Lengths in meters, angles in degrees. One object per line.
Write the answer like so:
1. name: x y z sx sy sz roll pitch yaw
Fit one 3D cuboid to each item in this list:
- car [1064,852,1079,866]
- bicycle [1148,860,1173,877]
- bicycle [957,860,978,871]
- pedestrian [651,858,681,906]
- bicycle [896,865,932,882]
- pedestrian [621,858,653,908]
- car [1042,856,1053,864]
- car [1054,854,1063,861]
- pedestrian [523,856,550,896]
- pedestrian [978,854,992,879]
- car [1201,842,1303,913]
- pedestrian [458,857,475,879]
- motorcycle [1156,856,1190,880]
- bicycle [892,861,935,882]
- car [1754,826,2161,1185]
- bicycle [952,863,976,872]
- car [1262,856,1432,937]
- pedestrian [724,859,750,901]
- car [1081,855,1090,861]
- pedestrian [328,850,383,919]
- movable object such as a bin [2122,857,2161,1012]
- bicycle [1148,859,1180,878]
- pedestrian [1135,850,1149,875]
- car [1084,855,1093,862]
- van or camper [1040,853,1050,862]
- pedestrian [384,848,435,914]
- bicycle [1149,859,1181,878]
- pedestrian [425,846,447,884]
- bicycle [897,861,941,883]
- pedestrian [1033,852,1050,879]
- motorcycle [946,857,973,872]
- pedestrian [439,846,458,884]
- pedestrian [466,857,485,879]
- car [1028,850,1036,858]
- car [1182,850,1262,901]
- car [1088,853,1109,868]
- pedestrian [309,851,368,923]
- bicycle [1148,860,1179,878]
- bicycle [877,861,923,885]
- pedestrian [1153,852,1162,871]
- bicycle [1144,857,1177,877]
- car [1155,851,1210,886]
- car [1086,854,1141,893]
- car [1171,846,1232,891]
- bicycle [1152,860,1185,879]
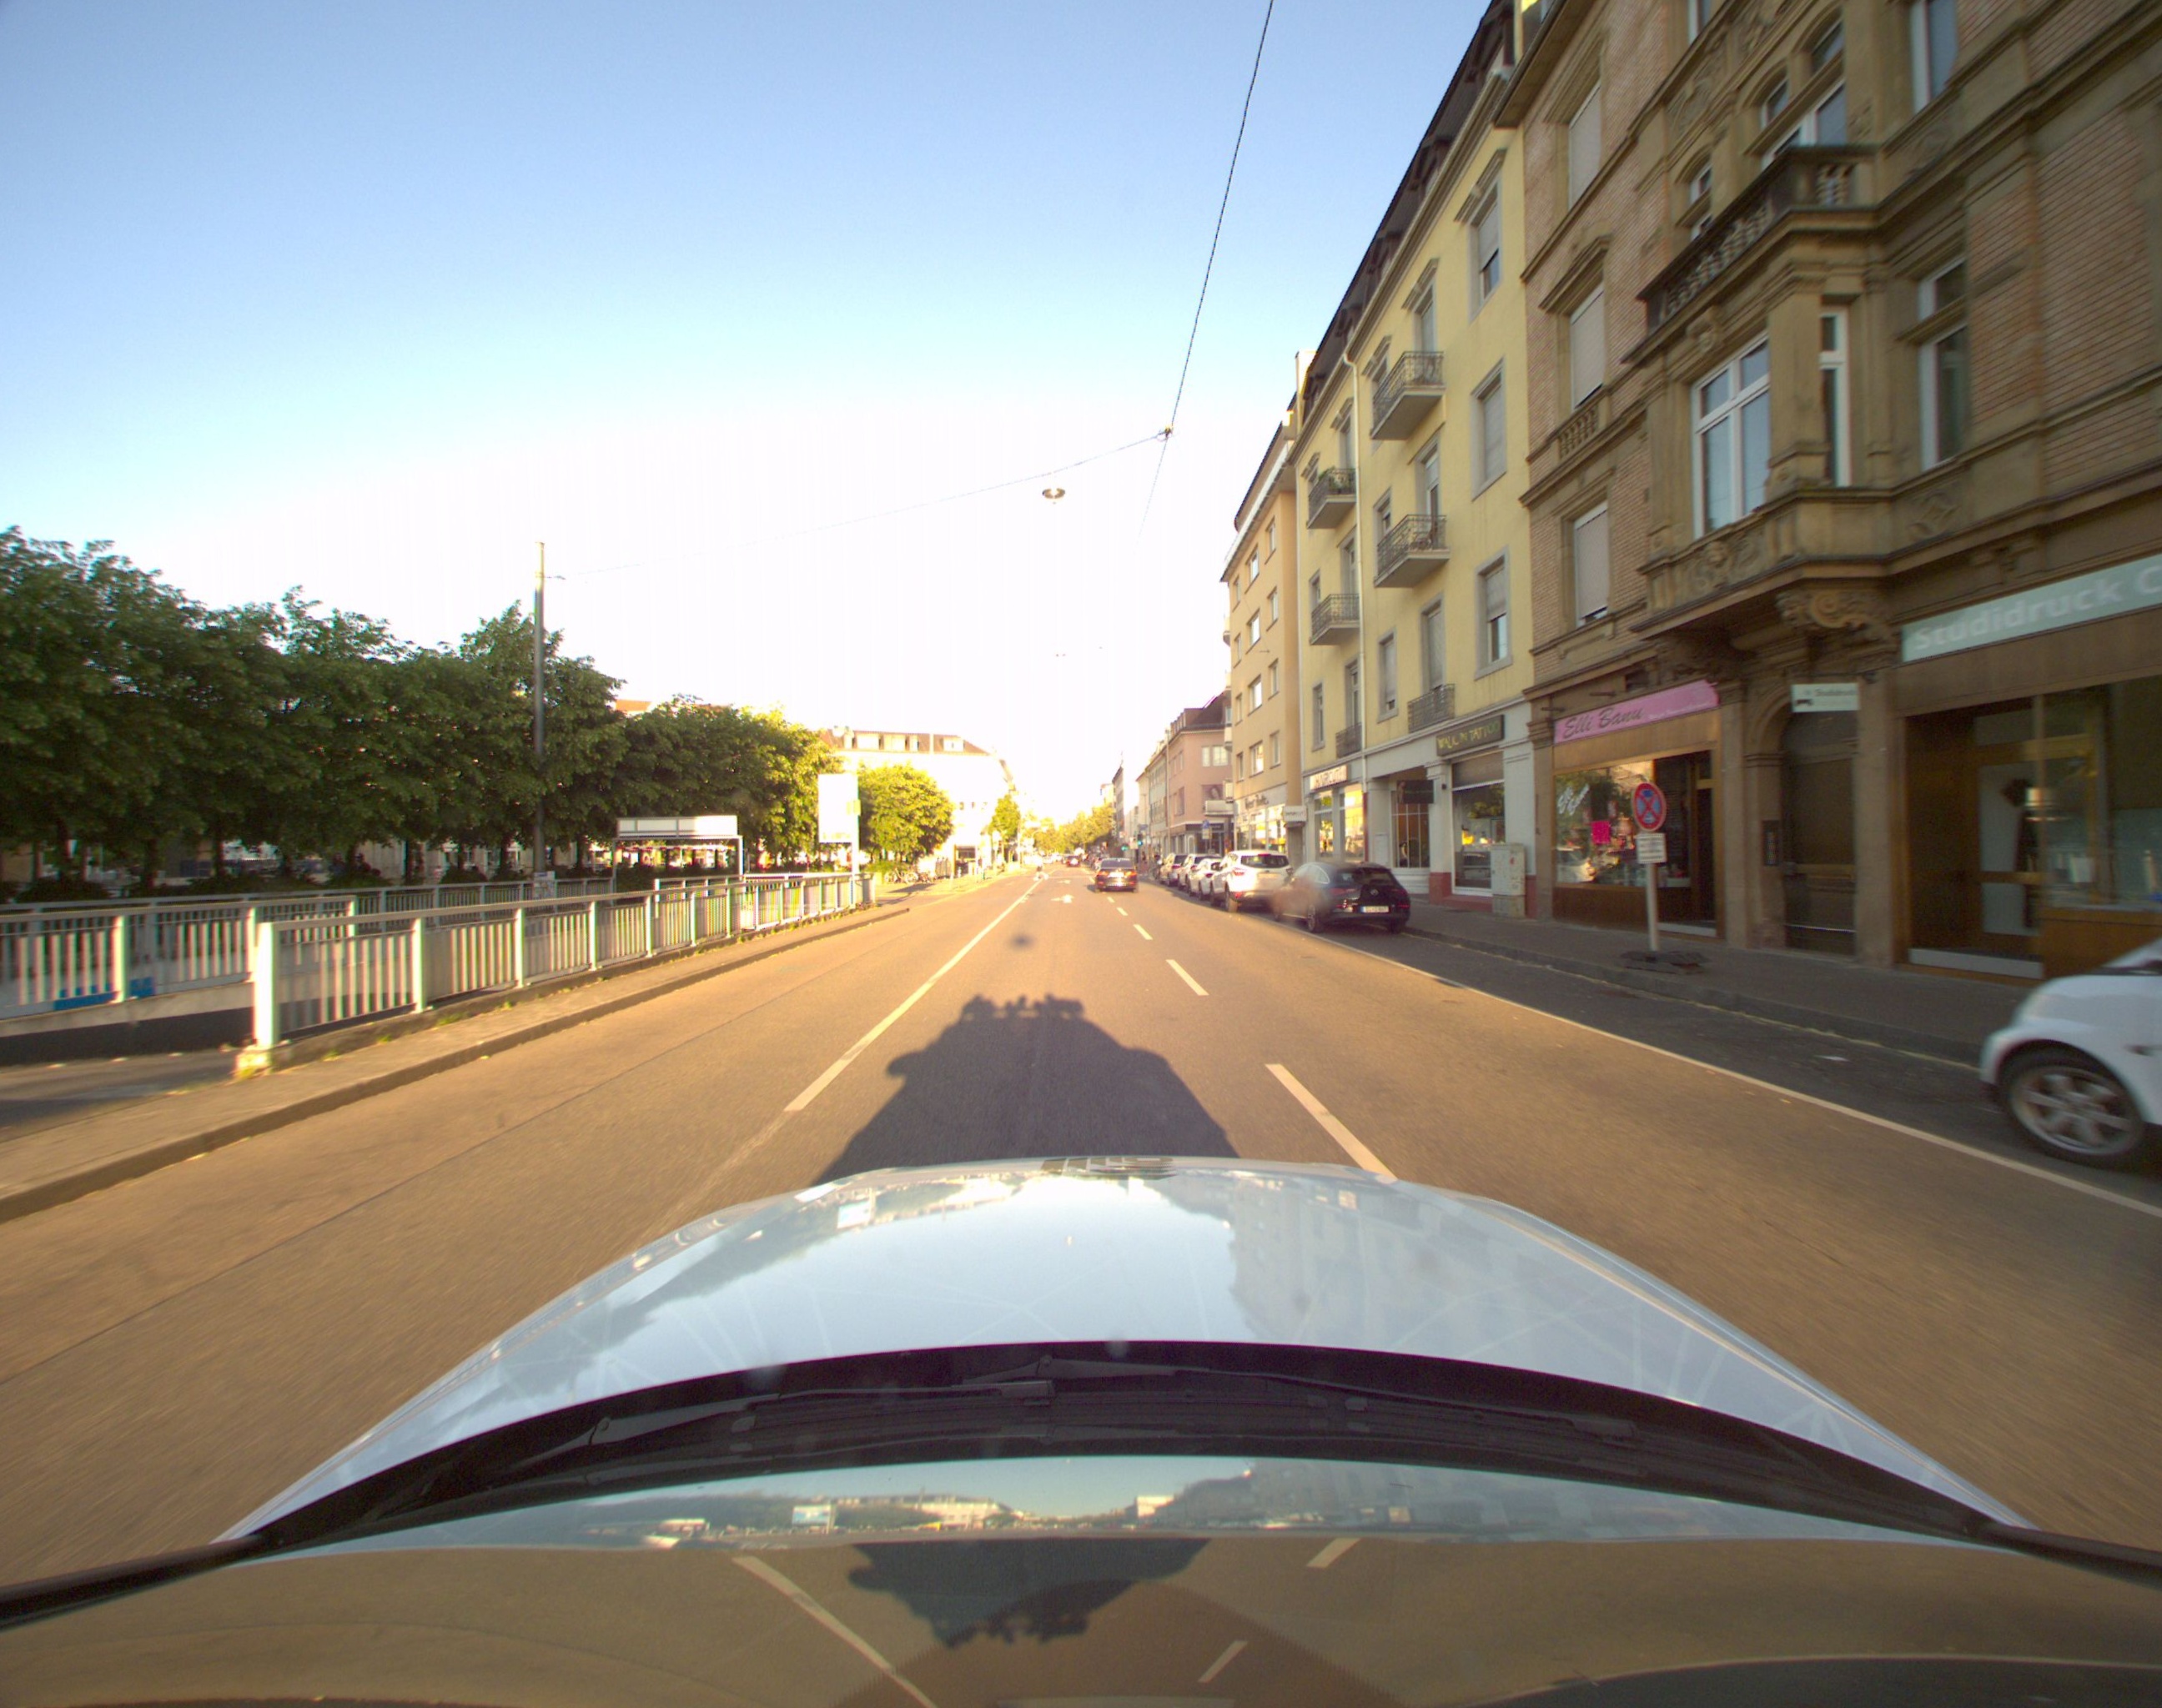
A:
1. car: -1.246 0.600 105.915 1.987 1.750 3.999 0 0 -1
2. bicycle: 5.053 0.905 52.031 1.498 1.026 0.511 -2 0 -6
3. bicycle: -12.264 1.238 87.959 2.231 1.135 0.811 -1 0 -4
4. pedestrian: -17.276 1.167 33.890 0.797 1.948 0.733 -1 0 12
5. bicycle: -9.920 1.148 48.389 2.038 0.971 0.635 1 0 -3
6. pedestrian: -17.523 1.154 32.181 0.797 1.948 0.733 -1 0 12
7. car: -6.364 1.107 153.877 1.887 1.596 4.000 0 0 1
8. car: -5.343 0.796 195.210 1.987 1.750 4.000 0 0 1
9. pedestrian: -26.878 1.098 40.207 0.798 1.948 0.732 -1 0 7
10. pedestrian: -6.533 0.847 55.200 0.882 1.720 0.712 0 0 -13
11. car: 4.746 0.569 23.318 1.876 1.745 4.657 -1 1 -1
12. pedestrian: -42.967 1.000 56.981 0.847 1.501 0.939 -1 -1 -31
13. motorcycle: 5.211 0.799 46.260 1.808 1.263 0.715 -2 0 -4
14. bicycle: -9.820 1.031 47.806 2.425 1.237 0.462 0 0 -3
15. car: 5.648 0.664 3.808 1.695 1.584 3.999 -1 1 -1
16. bicycle: -11.766 1.369 81.968 2.322 0.919 0.700 -1 0 -4
17. car: 5.412 0.783 17.333 1.987 1.434 4.848 0 0 -1
18. pedestrian: -16.053 1.202 38.037 0.797 1.948 0.733 -1 0 12
19. car: 1.177 0.932 198.415 1.890 1.596 3.994 0 0 -4
20. pedestrian: -21.577 0.887 24.229 0.904 2.013 0.924 0 0 22
21. movable object such as a bin: 8.752 0.614 5.805 0.864 1.186 1.397 -1 0 -1
22. bicycle: 5.052 0.886 49.667 1.880 1.112 0.601 0 0 -4
23. pedestrian: 4.240 0.607 56.654 0.794 1.720 0.809 0 0 -8
24. car: 1.714 0.947 185.836 1.777 1.596 3.629 0 0 -4
25. van or camper: -9.901 1.018 224.187 2.468 2.405 3.993 0 0 -5
26. pedestrian: -21.031 0.838 25.514 0.904 2.013 0.924 0 0 22
27. bicycle: 5.082 0.891 49.128 1.880 1.112 0.520 0 0 -5
28. pedestrian: -33.388 0.573 42.151 0.807 1.948 0.681 -1 0 -31
29. bicycle: -9.384 1.044 47.135 2.425 1.237 0.517 1 0 -3
30. pedestrian: -2.612 0.736 53.334 0.873 1.720 0.753 0 0 -26
31. motorcycle: -11.729 1.042 78.817 2.406 1.426 1.112 -1 0 -2
32. pedestrian: -32.993 0.569 42.459 0.734 1.948 0.795 -1 0 -41
33. pedestrian: -42.616 0.969 57.345 0.984 1.501 0.979 -1 -1 -33
34. car: -12.787 -0.003 213.226 1.821 2.013 3.676 0 0 1
35. car: 4.915 0.700 29.093 2.009 1.543 4.869 -1 1 0
36. car: 1.972 0.728 94.465 2.327 1.604 3.892 0 0 -1
37. pedestrian: -21.301 0.936 23.375 0.904 2.013 0.924 0 0 22
38. bicycle: 5.210 0.930 51.436 1.881 1.112 0.761 0 0 -5
39. bicycle: -10.131 1.043 45.605 2.483 1.284 0.820 0 0 19
40. pedestrian: 7.385 0.707 78.737 0.756 1.777 1.046 0 0 -6
41. bicycle: 4.932 0.798 50.617 1.881 1.167 0.722 -1 0 -5
42. car: 5.039 0.687 40.913 1.988 1.613 4.799 -1 0 -2
43. car: 1.299 0.773 34.342 1.885 1.492 4.198 0 0 -4
44. car: 5.095 0.559 34.970 1.862 1.762 4.406 -1 1 -1
45. bicycle: 5.203 0.923 48.297 1.880 1.112 0.592 0 -2 -5
